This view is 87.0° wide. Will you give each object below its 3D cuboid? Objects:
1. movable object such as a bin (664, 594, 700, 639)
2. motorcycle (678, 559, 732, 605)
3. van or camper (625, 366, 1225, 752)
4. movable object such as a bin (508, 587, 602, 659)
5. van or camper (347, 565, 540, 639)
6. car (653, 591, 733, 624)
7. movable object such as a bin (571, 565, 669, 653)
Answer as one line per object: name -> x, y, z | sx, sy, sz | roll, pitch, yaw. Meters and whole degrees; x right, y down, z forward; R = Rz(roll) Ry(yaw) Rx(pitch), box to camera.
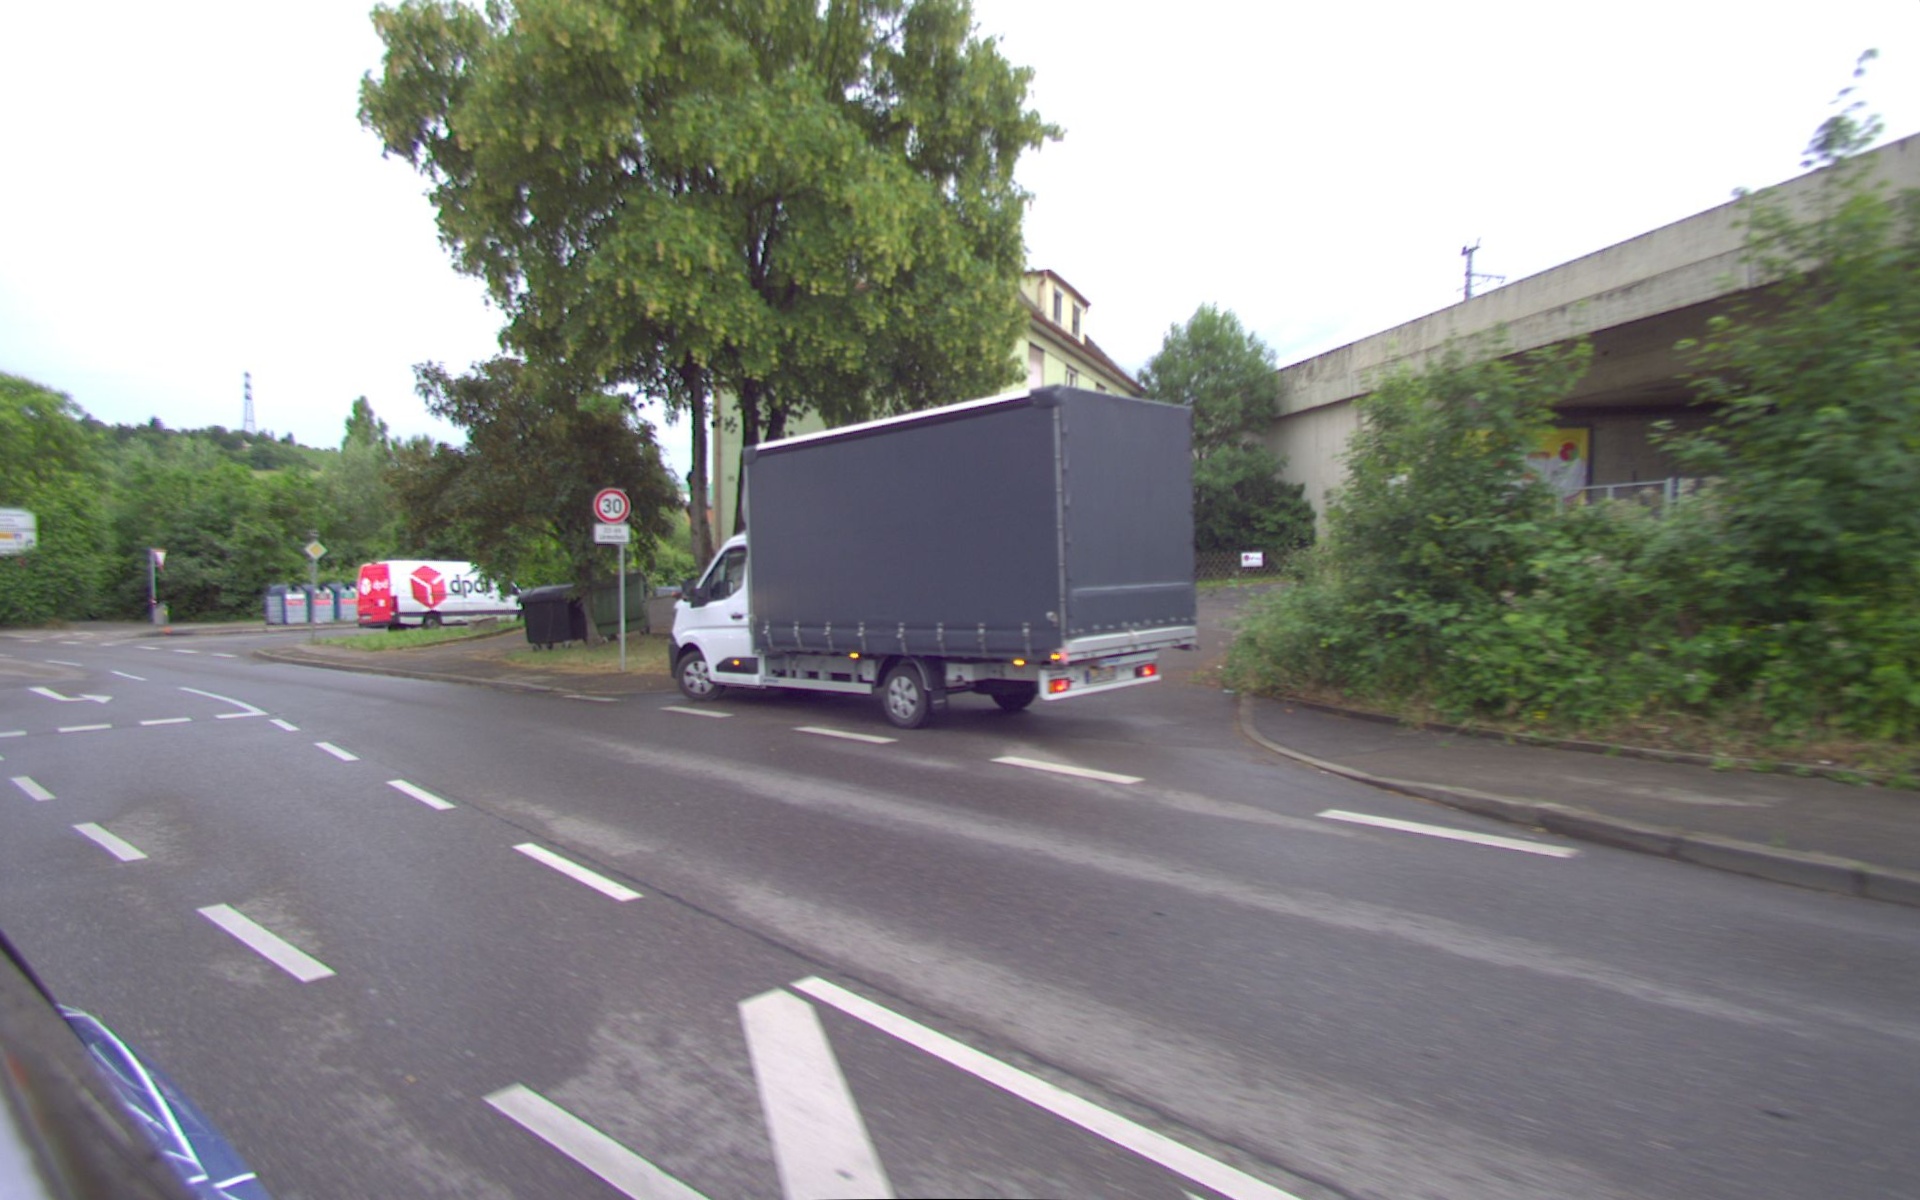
movable object such as a bin -> -6.079, 0.352, 22.172 | 0.556, 0.917, 0.541 | -4, 1, 5
motorcycle -> -7.367, -0.538, 29.303 | 0.431, 1.205, 1.463 | 3, 7, 42
van or camper -> -0.927, -0.365, 12.471 | 7.762, 3.359, 2.669 | -1, 1, 43
movable object such as a bin -> -9.005, 0.483, 22.574 | 1.359, 1.451, 1.471 | -4, 1, 4
van or camper -> -19.258, 0.001, 38.219 | 2.208, 2.541, 6.648 | -1, 1, 22
car -> -13.799, 0.382, 52.513 | 1.986, 1.541, 4.039 | -1, 1, 22
movable object such as a bin -> -7.516, 0.181, 22.480 | 1.435, 1.774, 1.576 | -4, 1, 4
